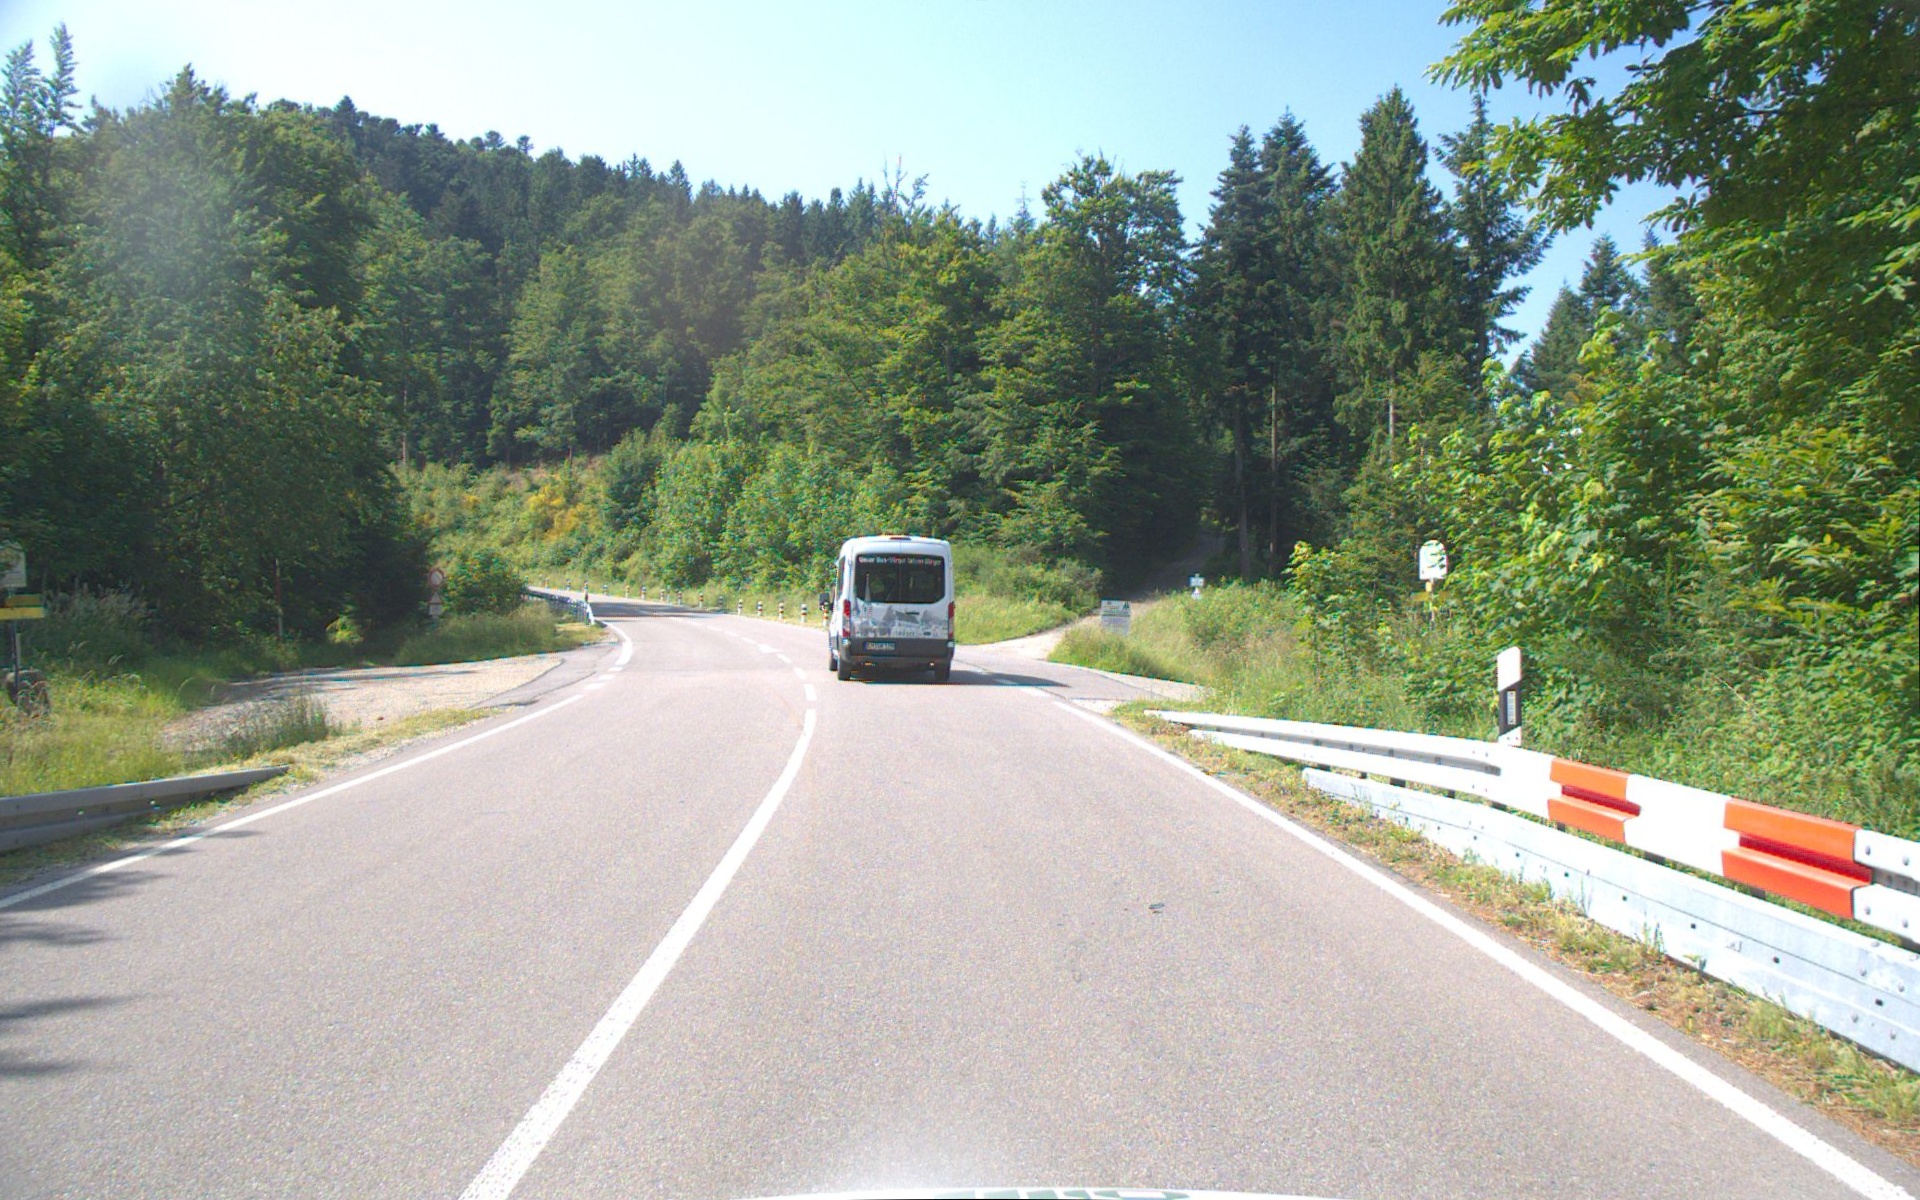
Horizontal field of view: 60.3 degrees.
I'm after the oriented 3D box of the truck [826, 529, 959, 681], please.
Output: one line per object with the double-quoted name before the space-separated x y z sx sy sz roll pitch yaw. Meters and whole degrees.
"truck" -1.347 0.070 30.489 2.075 2.542 5.352 1 0 -6
